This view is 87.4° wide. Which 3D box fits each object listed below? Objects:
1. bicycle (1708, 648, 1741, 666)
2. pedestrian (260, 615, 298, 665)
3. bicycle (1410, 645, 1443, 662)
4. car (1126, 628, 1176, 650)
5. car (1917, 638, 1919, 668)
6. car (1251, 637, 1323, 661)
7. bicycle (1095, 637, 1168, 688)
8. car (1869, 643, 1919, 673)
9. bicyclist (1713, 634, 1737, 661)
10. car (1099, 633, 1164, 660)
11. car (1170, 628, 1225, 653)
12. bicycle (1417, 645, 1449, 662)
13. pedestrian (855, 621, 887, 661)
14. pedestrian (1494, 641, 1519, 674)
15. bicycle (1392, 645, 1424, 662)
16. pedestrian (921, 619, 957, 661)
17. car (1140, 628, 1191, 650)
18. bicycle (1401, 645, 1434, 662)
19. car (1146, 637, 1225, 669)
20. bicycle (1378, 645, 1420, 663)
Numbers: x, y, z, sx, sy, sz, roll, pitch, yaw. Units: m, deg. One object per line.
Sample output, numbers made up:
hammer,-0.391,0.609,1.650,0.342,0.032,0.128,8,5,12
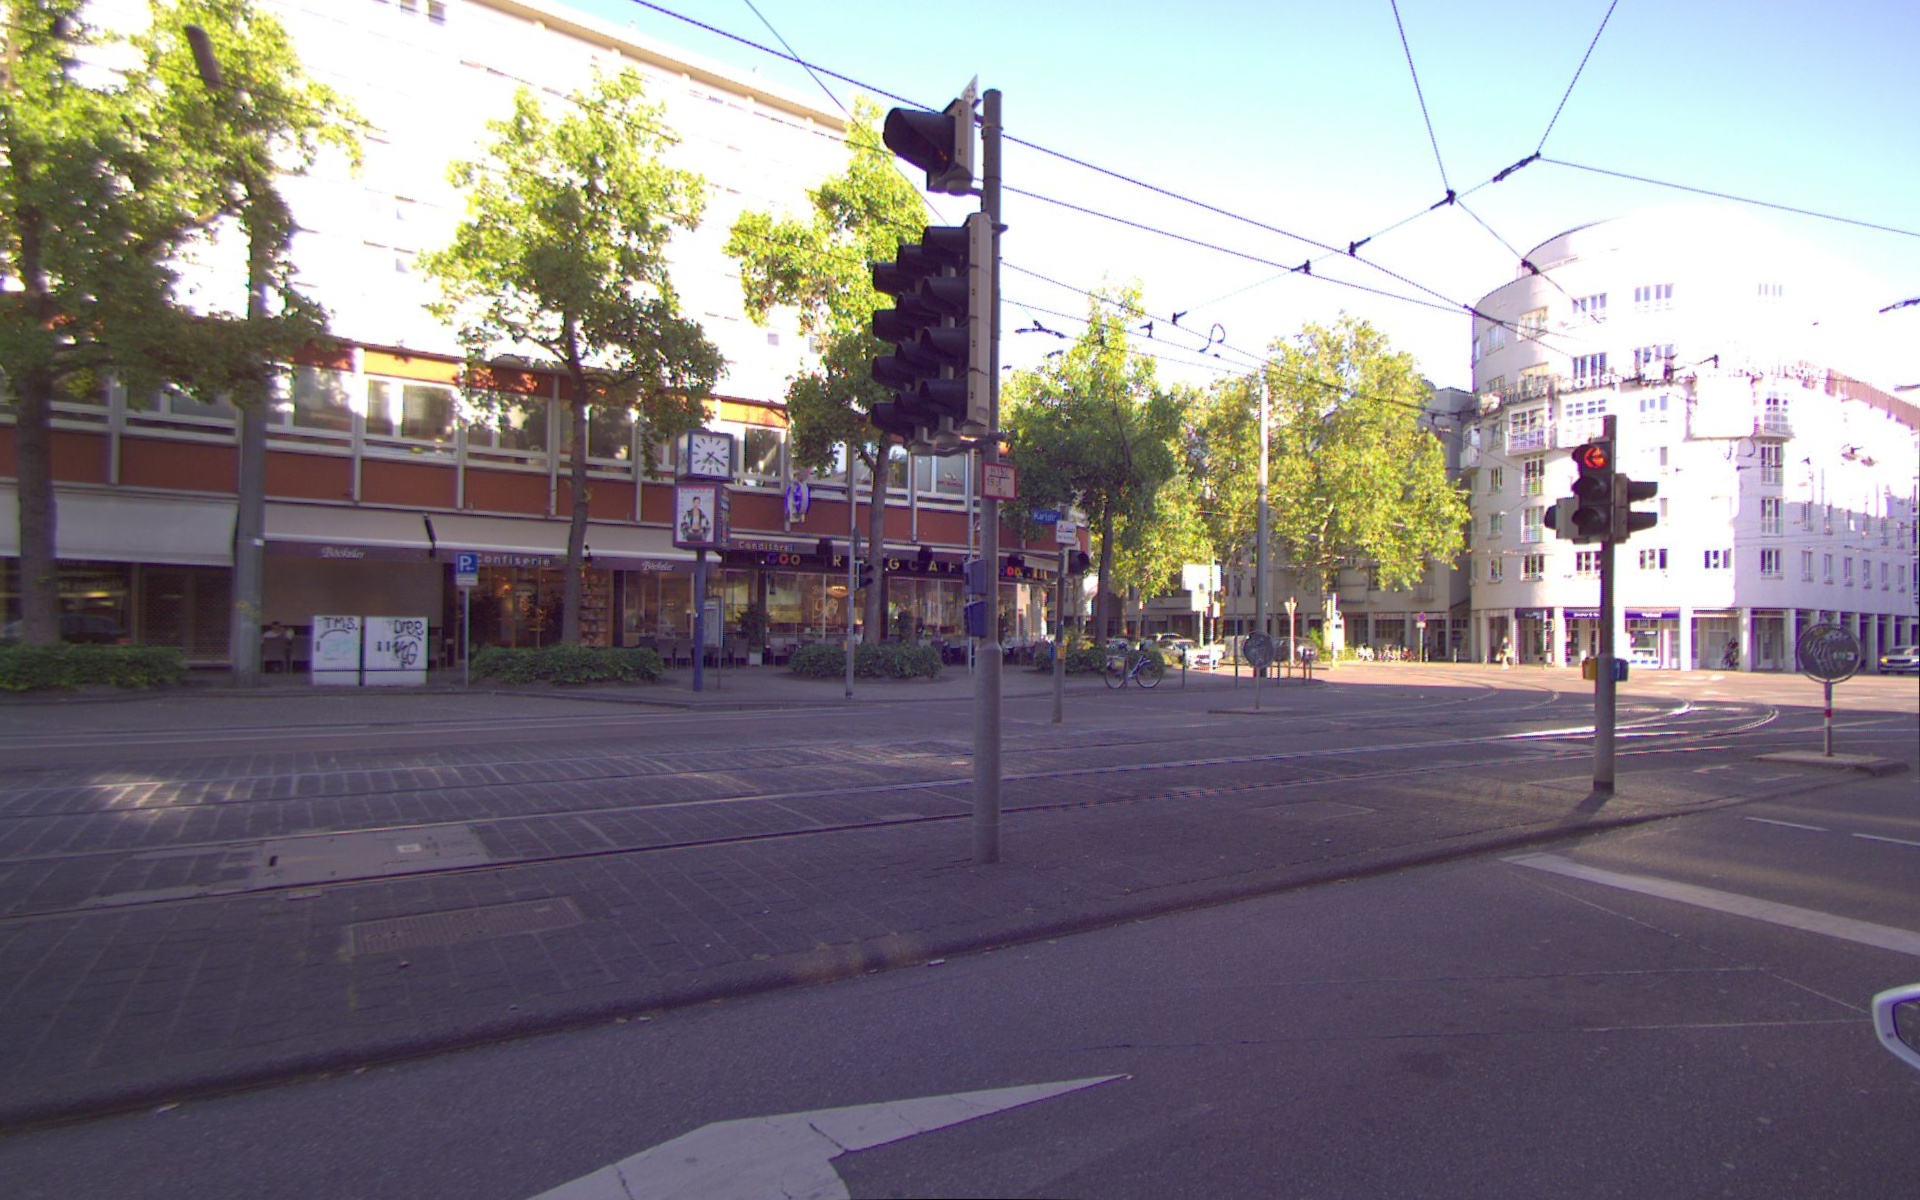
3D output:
bicycle,42.294,3.136,55.544,2.242,0.939,0.835,2,-2,-35
pedestrian,-16.507,0.958,24.338,0.721,1.187,0.771,2,-2,-36
bicycle,32.232,3.677,69.424,0.809,1.122,1.933,2,-2,-30
car,15.926,3.246,83.732,3.960,1.738,1.783,2,-2,-35
car,61.826,3.315,62.689,5.291,1.862,1.982,2,-2,-34
car,21.236,3.165,65.406,1.867,1.440,4.423,1,-2,-28
bicycle,4.384,1.592,25.621,1.833,1.251,0.578,2,0,-28
car,54.113,3.303,57.581,4.463,1.641,1.982,2,-2,-34
bicyclist,42.316,2.625,55.550,0.887,1.486,0.835,2,-2,-34
car,9.540,2.576,56.106,1.860,1.439,4.442,2,-2,-16
car,17.348,2.983,73.311,3.960,1.738,1.783,2,-2,-35
bicycle,32.912,3.699,69.955,0.809,1.122,1.933,2,-2,-30
pedestrian,-2.926,1.344,33.062,0.893,1.279,0.837,1,-1,-17
pedestrian,28.014,2.940,51.521,0.687,1.704,0.866,0,-1,-24
bicycle,30.411,3.623,68.199,0.808,1.122,1.935,2,-2,-27
pedestrian,-0.715,1.387,34.648,0.880,1.414,0.929,2,-2,-31
car,16.728,3.170,81.680,3.960,1.738,1.783,2,-2,-35
bicycle,31.270,3.646,68.666,0.808,1.122,1.935,2,-2,-27
car,10.946,2.555,49.131,1.860,1.439,4.442,2,-2,-16
bicycle,29.254,3.566,66.971,2.410,1.122,0.932,-1,-2,44
